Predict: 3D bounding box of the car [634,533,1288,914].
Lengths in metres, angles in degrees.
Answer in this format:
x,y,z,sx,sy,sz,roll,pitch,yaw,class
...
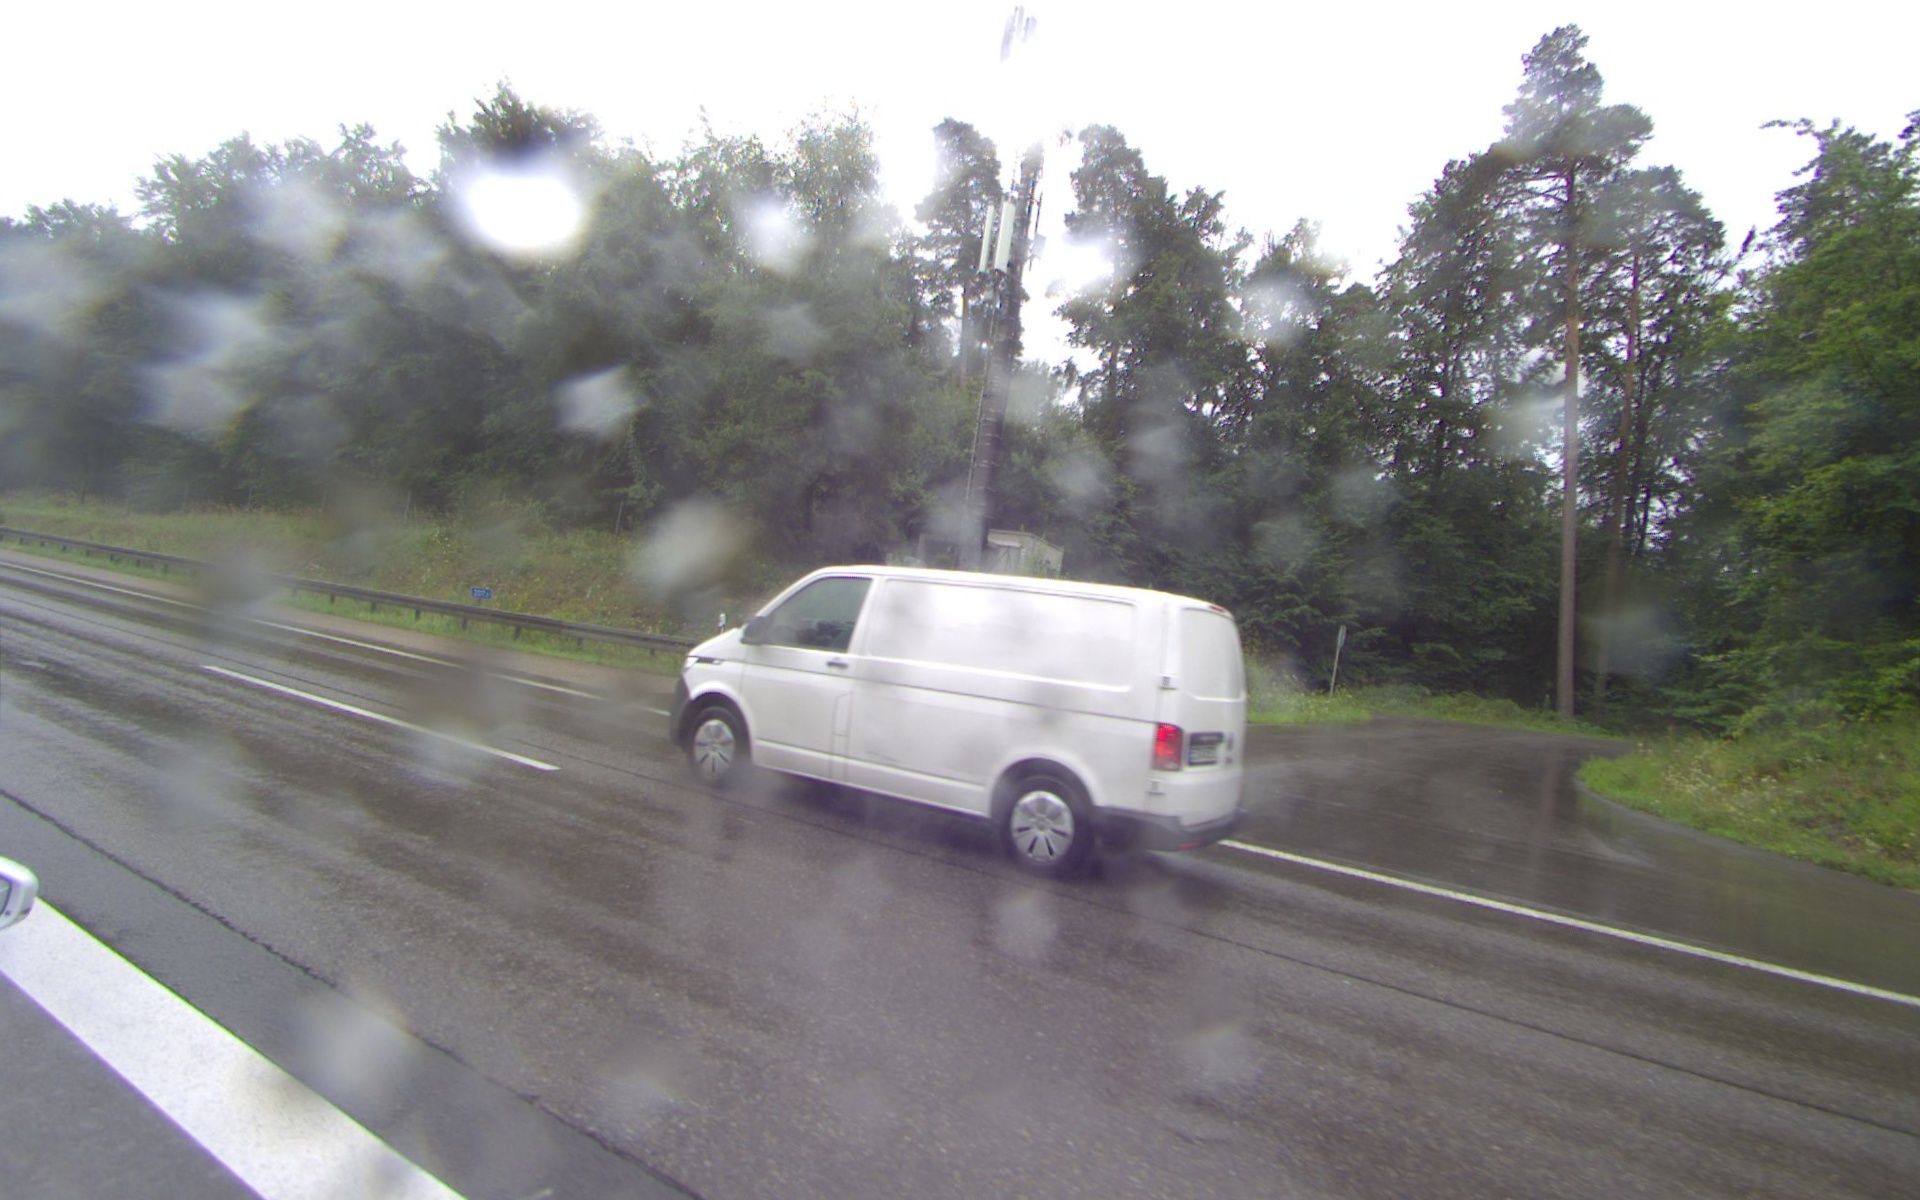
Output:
x,y,z,sx,sy,sz,roll,pitch,yaw,class
-0.099,0.753,8.058,4.687,1.943,1.994,7,-1,31,car
